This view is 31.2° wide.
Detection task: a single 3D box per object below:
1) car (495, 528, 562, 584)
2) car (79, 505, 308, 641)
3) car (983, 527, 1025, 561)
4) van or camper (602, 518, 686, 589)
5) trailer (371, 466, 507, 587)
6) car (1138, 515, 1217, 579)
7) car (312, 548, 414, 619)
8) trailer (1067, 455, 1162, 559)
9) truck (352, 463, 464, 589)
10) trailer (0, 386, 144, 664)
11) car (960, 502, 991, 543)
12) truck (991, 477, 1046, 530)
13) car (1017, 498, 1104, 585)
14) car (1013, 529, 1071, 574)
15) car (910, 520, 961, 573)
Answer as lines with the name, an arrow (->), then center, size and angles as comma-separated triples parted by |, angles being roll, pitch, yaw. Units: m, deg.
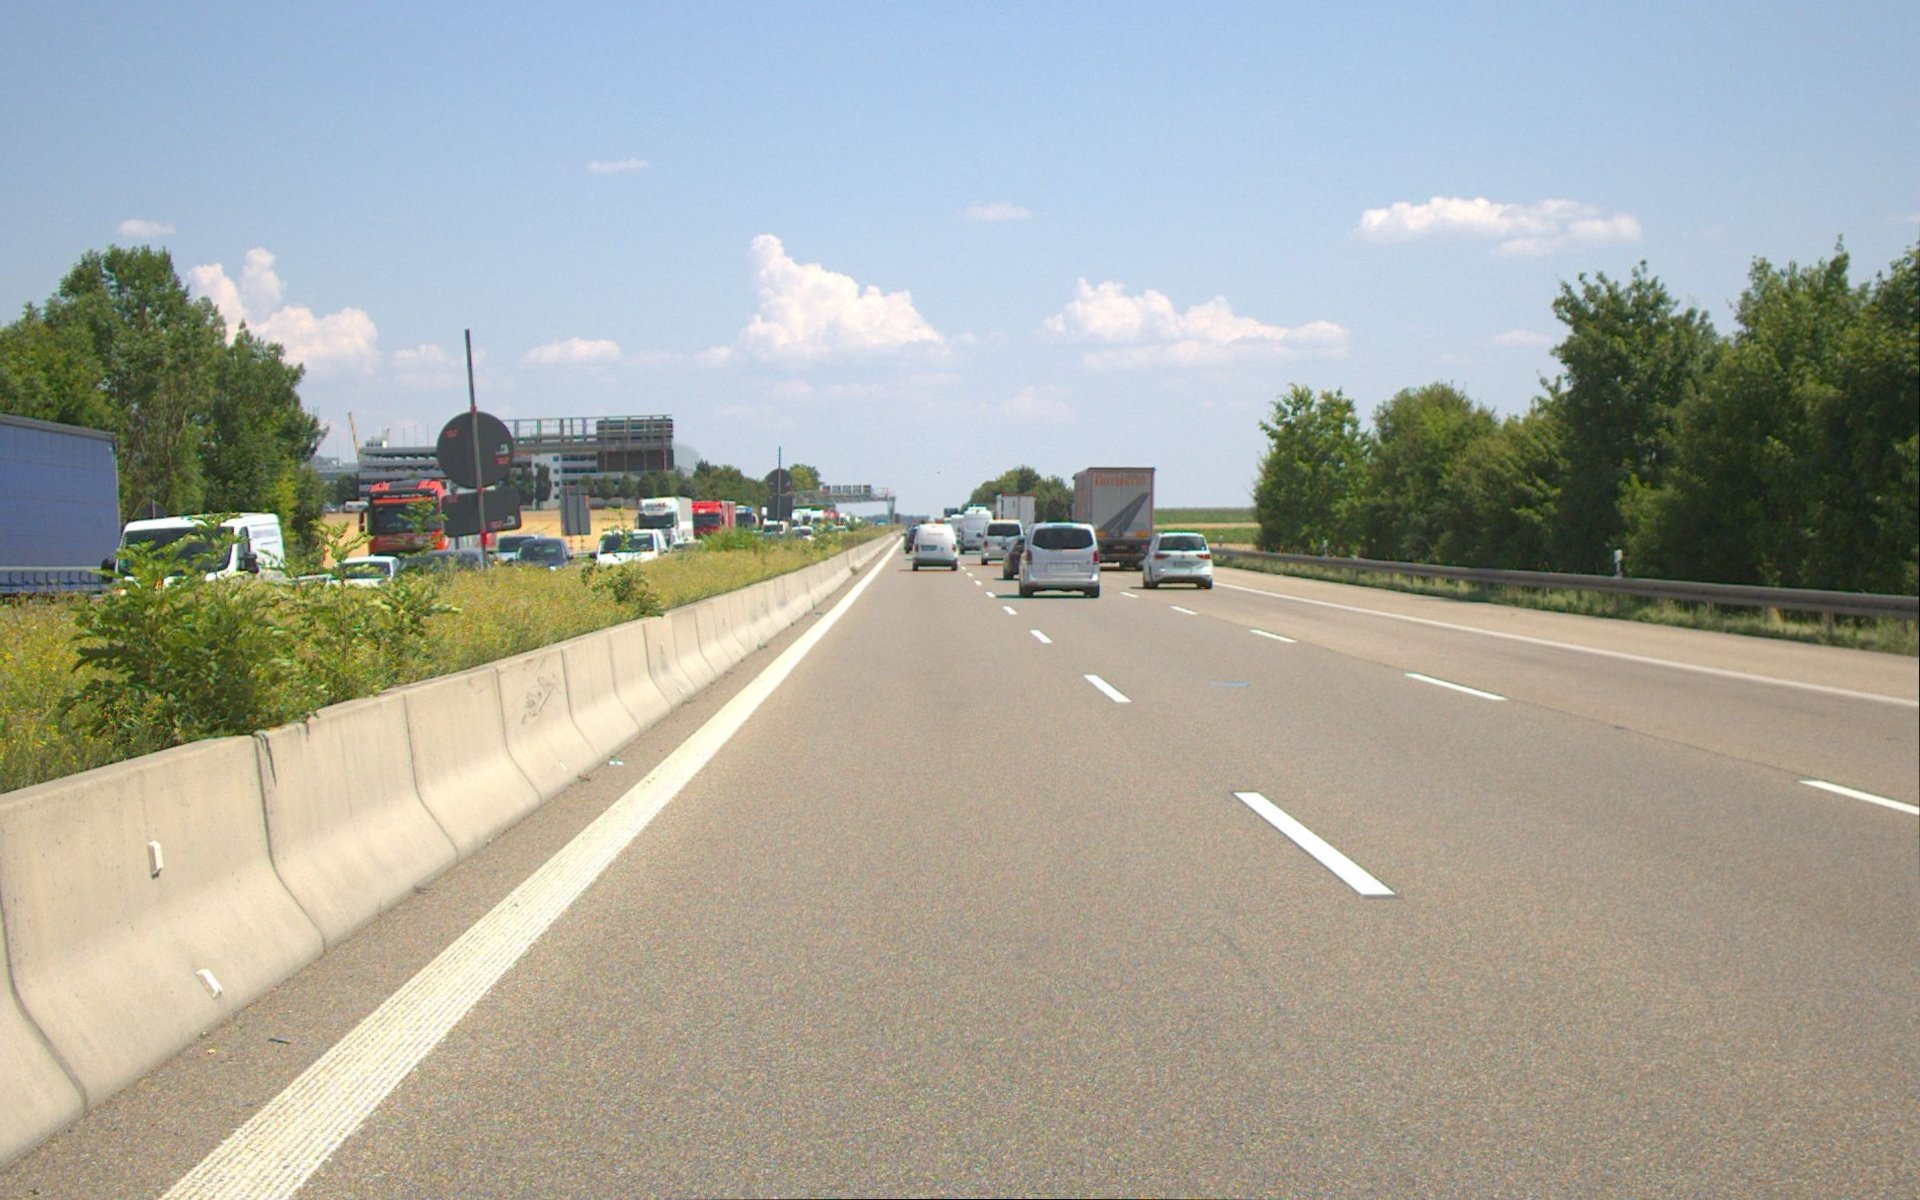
car -> -13.780, -1.422, 109.865 | 1.694, 1.721, 4.262 | -1, 1, -2
car -> -12.139, -0.459, 54.887 | 2.185, 2.007, 5.763 | -1, 1, 1
car -> 1.936, -2.490, 153.289 | 1.773, 1.442, 4.000 | 0, 0, -1
van or camper -> -8.914, -1.349, 97.317 | 1.993, 1.926, 5.202 | -1, 1, -2
trailer -> -17.721, -2.529, 117.812 | 2.856, 3.842, 12.187 | -2, 1, -1
car -> 6.260, -1.511, 99.243 | 1.993, 1.788, 4.000 | 0, 0, -1
car -> -13.060, -0.378, 75.392 | 1.617, 1.459, 3.865 | -1, 1, -1
trailer -> 6.131, -3.656, 137.880 | 3.277, 3.953, 9.113 | 0, 0, -1
truck -> -17.584, -2.355, 109.738 | 2.856, 3.842, 4.000 | -2, 1, -1
trailer -> -16.411, -1.189, 56.182 | 2.883, 4.335, 13.643 | -1, 1, 0
car -> 0.935, -4.617, 205.710 | 1.773, 2.384, 4.000 | 0, 0, -1
truck -> 4.409, -7.293, 261.481 | 3.815, 3.891, 9.581 | -1, 1, -1
car -> 2.495, -1.438, 86.120 | 1.993, 2.112, 4.000 | 0, 0, -1
car -> 2.693, -1.602, 113.859 | 1.773, 1.442, 4.000 | 0, 0, -1
car -> -0.966, -2.090, 134.657 | 1.993, 2.007, 4.000 | 0, 0, -1
